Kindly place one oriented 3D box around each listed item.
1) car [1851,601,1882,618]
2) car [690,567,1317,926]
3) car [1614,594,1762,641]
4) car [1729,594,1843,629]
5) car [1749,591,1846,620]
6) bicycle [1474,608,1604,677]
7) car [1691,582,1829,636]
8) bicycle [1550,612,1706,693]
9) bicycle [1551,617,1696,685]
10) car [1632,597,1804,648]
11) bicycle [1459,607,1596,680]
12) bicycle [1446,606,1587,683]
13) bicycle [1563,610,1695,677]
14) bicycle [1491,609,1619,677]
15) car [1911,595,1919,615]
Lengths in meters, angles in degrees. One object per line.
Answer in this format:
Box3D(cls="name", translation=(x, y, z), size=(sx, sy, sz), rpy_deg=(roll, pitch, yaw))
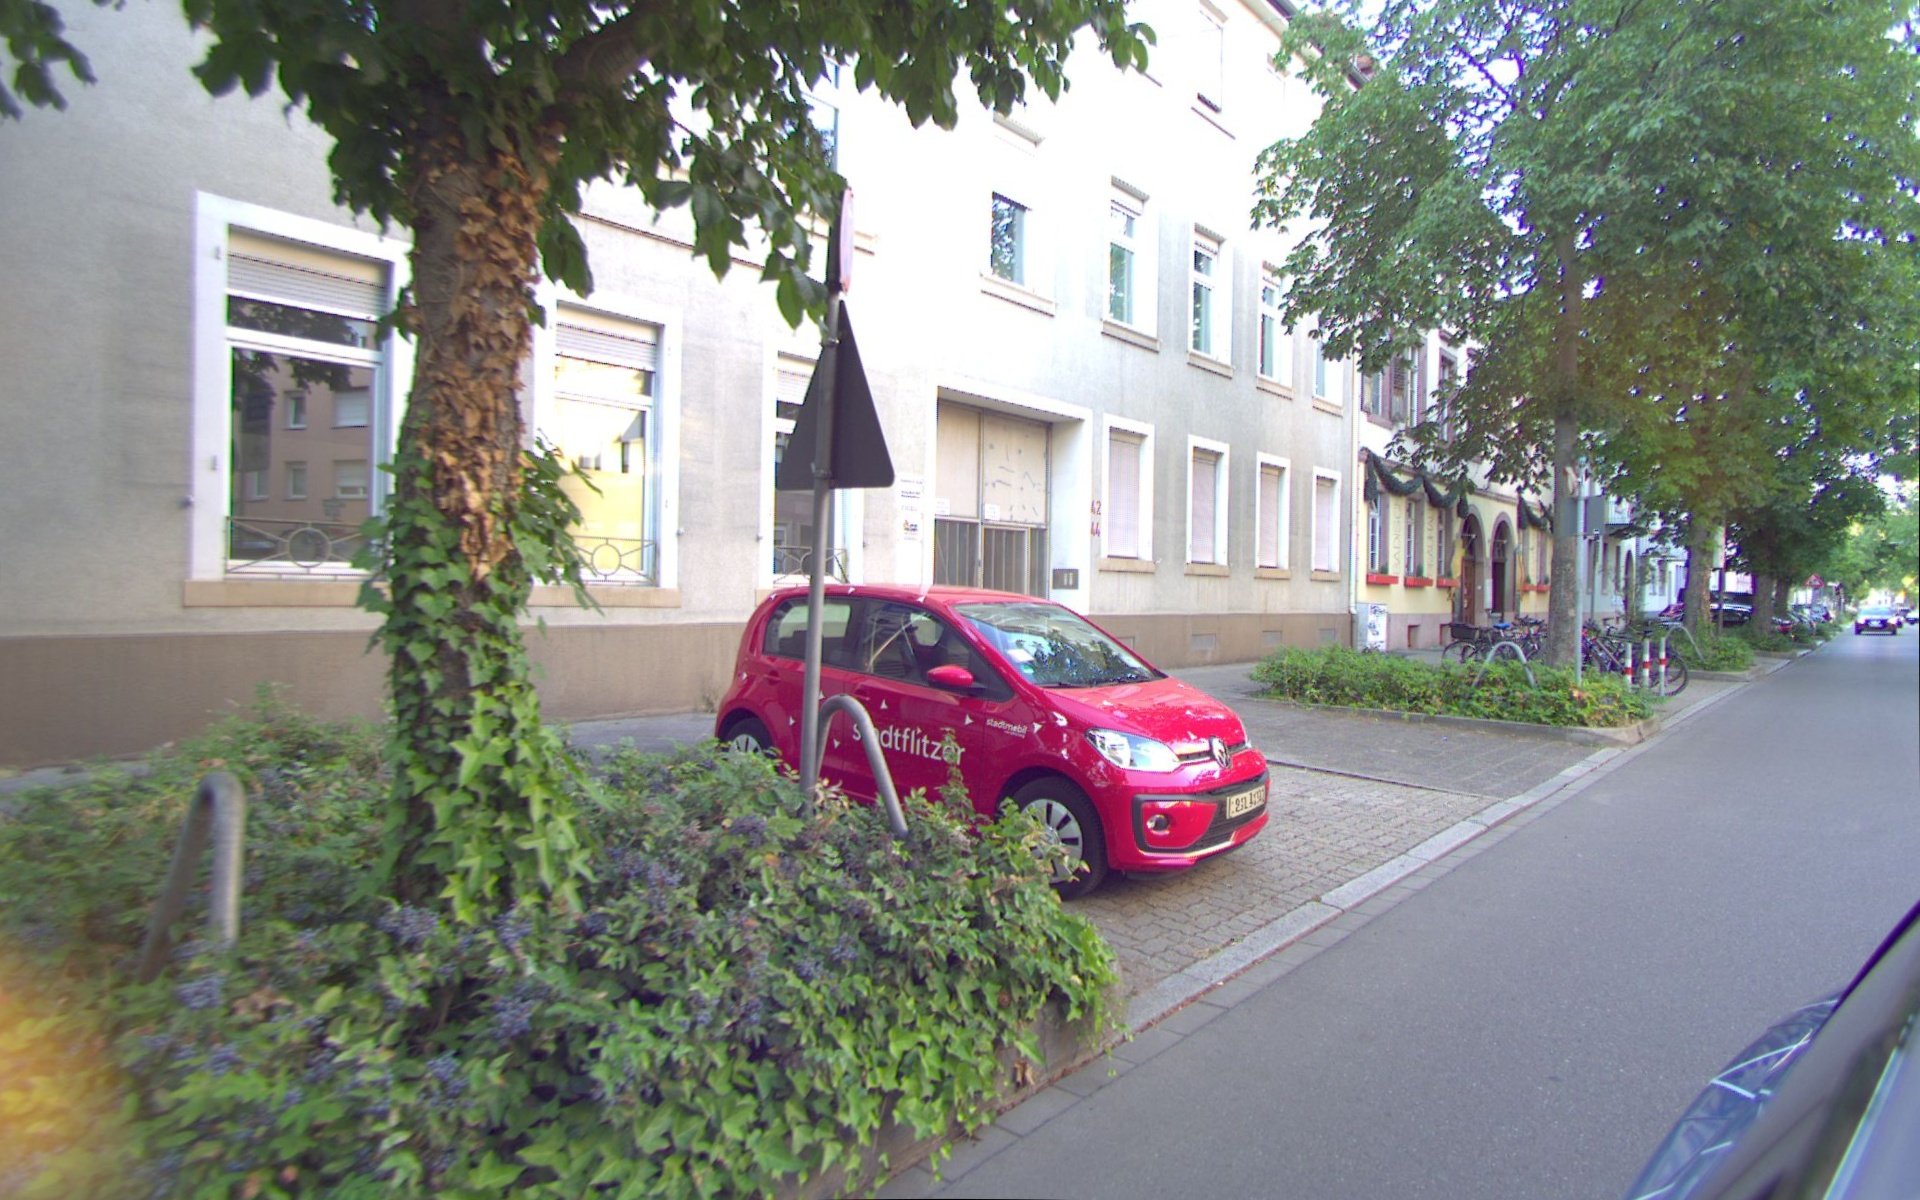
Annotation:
Box3D(cls="car", translation=(75.959, 0.800, 84.799), size=(1.822, 1.389, 3.938), rpy_deg=(2, 1, 43))
Box3D(cls="car", translation=(0.061, 0.587, 6.146), size=(3.654, 1.494, 1.542), rpy_deg=(3, 2, 42))
Box3D(cls="car", translation=(28.136, 0.646, 39.185), size=(1.748, 1.633, 4.434), rpy_deg=(1, 1, -45))
Box3D(cls="car", translation=(42.621, 0.563, 52.285), size=(1.748, 1.633, 4.434), rpy_deg=(1, 1, -45))
Box3D(cls="car", translation=(51.090, 0.332, 61.778), size=(1.748, 1.633, 4.434), rpy_deg=(1, 1, -45))
Box3D(cls="bicycle", translation=(10.654, 0.750, 18.693), size=(2.035, 1.160, 0.415), rpy_deg=(2, 1, 43))
Box3D(cls="car", translation=(33.956, 0.337, 43.057), size=(1.748, 2.150, 4.434), rpy_deg=(1, 1, -45))
Box3D(cls="bicycle", translation=(10.689, 0.807, 16.256), size=(2.036, 1.160, 0.439), rpy_deg=(2, 1, 45))
Box3D(cls="bicycle", translation=(11.345, 0.846, 17.359), size=(2.035, 1.016, 0.415), rpy_deg=(2, 1, 43))
Box3D(cls="car", translation=(25.388, 0.706, 33.988), size=(1.748, 1.524, 4.434), rpy_deg=(1, 1, -45))
Box3D(cls="bicycle", translation=(9.899, 0.734, 17.711), size=(2.035, 1.160, 0.415), rpy_deg=(2, 1, 43))
Box3D(cls="bicycle", translation=(9.324, 0.719, 17.028), size=(0.439, 1.160, 2.038), rpy_deg=(1, 1, -43))
Box3D(cls="bicycle", translation=(12.663, 0.798, 19.212), size=(2.035, 1.160, 0.415), rpy_deg=(2, 1, 43))
Box3D(cls="bicycle", translation=(11.206, 0.786, 19.118), size=(2.035, 1.160, 0.415), rpy_deg=(2, 1, 43))
Box3D(cls="car", translation=(87.822, 0.509, 90.204), size=(3.931, 1.785, 1.997), rpy_deg=(1, 1, 6))
